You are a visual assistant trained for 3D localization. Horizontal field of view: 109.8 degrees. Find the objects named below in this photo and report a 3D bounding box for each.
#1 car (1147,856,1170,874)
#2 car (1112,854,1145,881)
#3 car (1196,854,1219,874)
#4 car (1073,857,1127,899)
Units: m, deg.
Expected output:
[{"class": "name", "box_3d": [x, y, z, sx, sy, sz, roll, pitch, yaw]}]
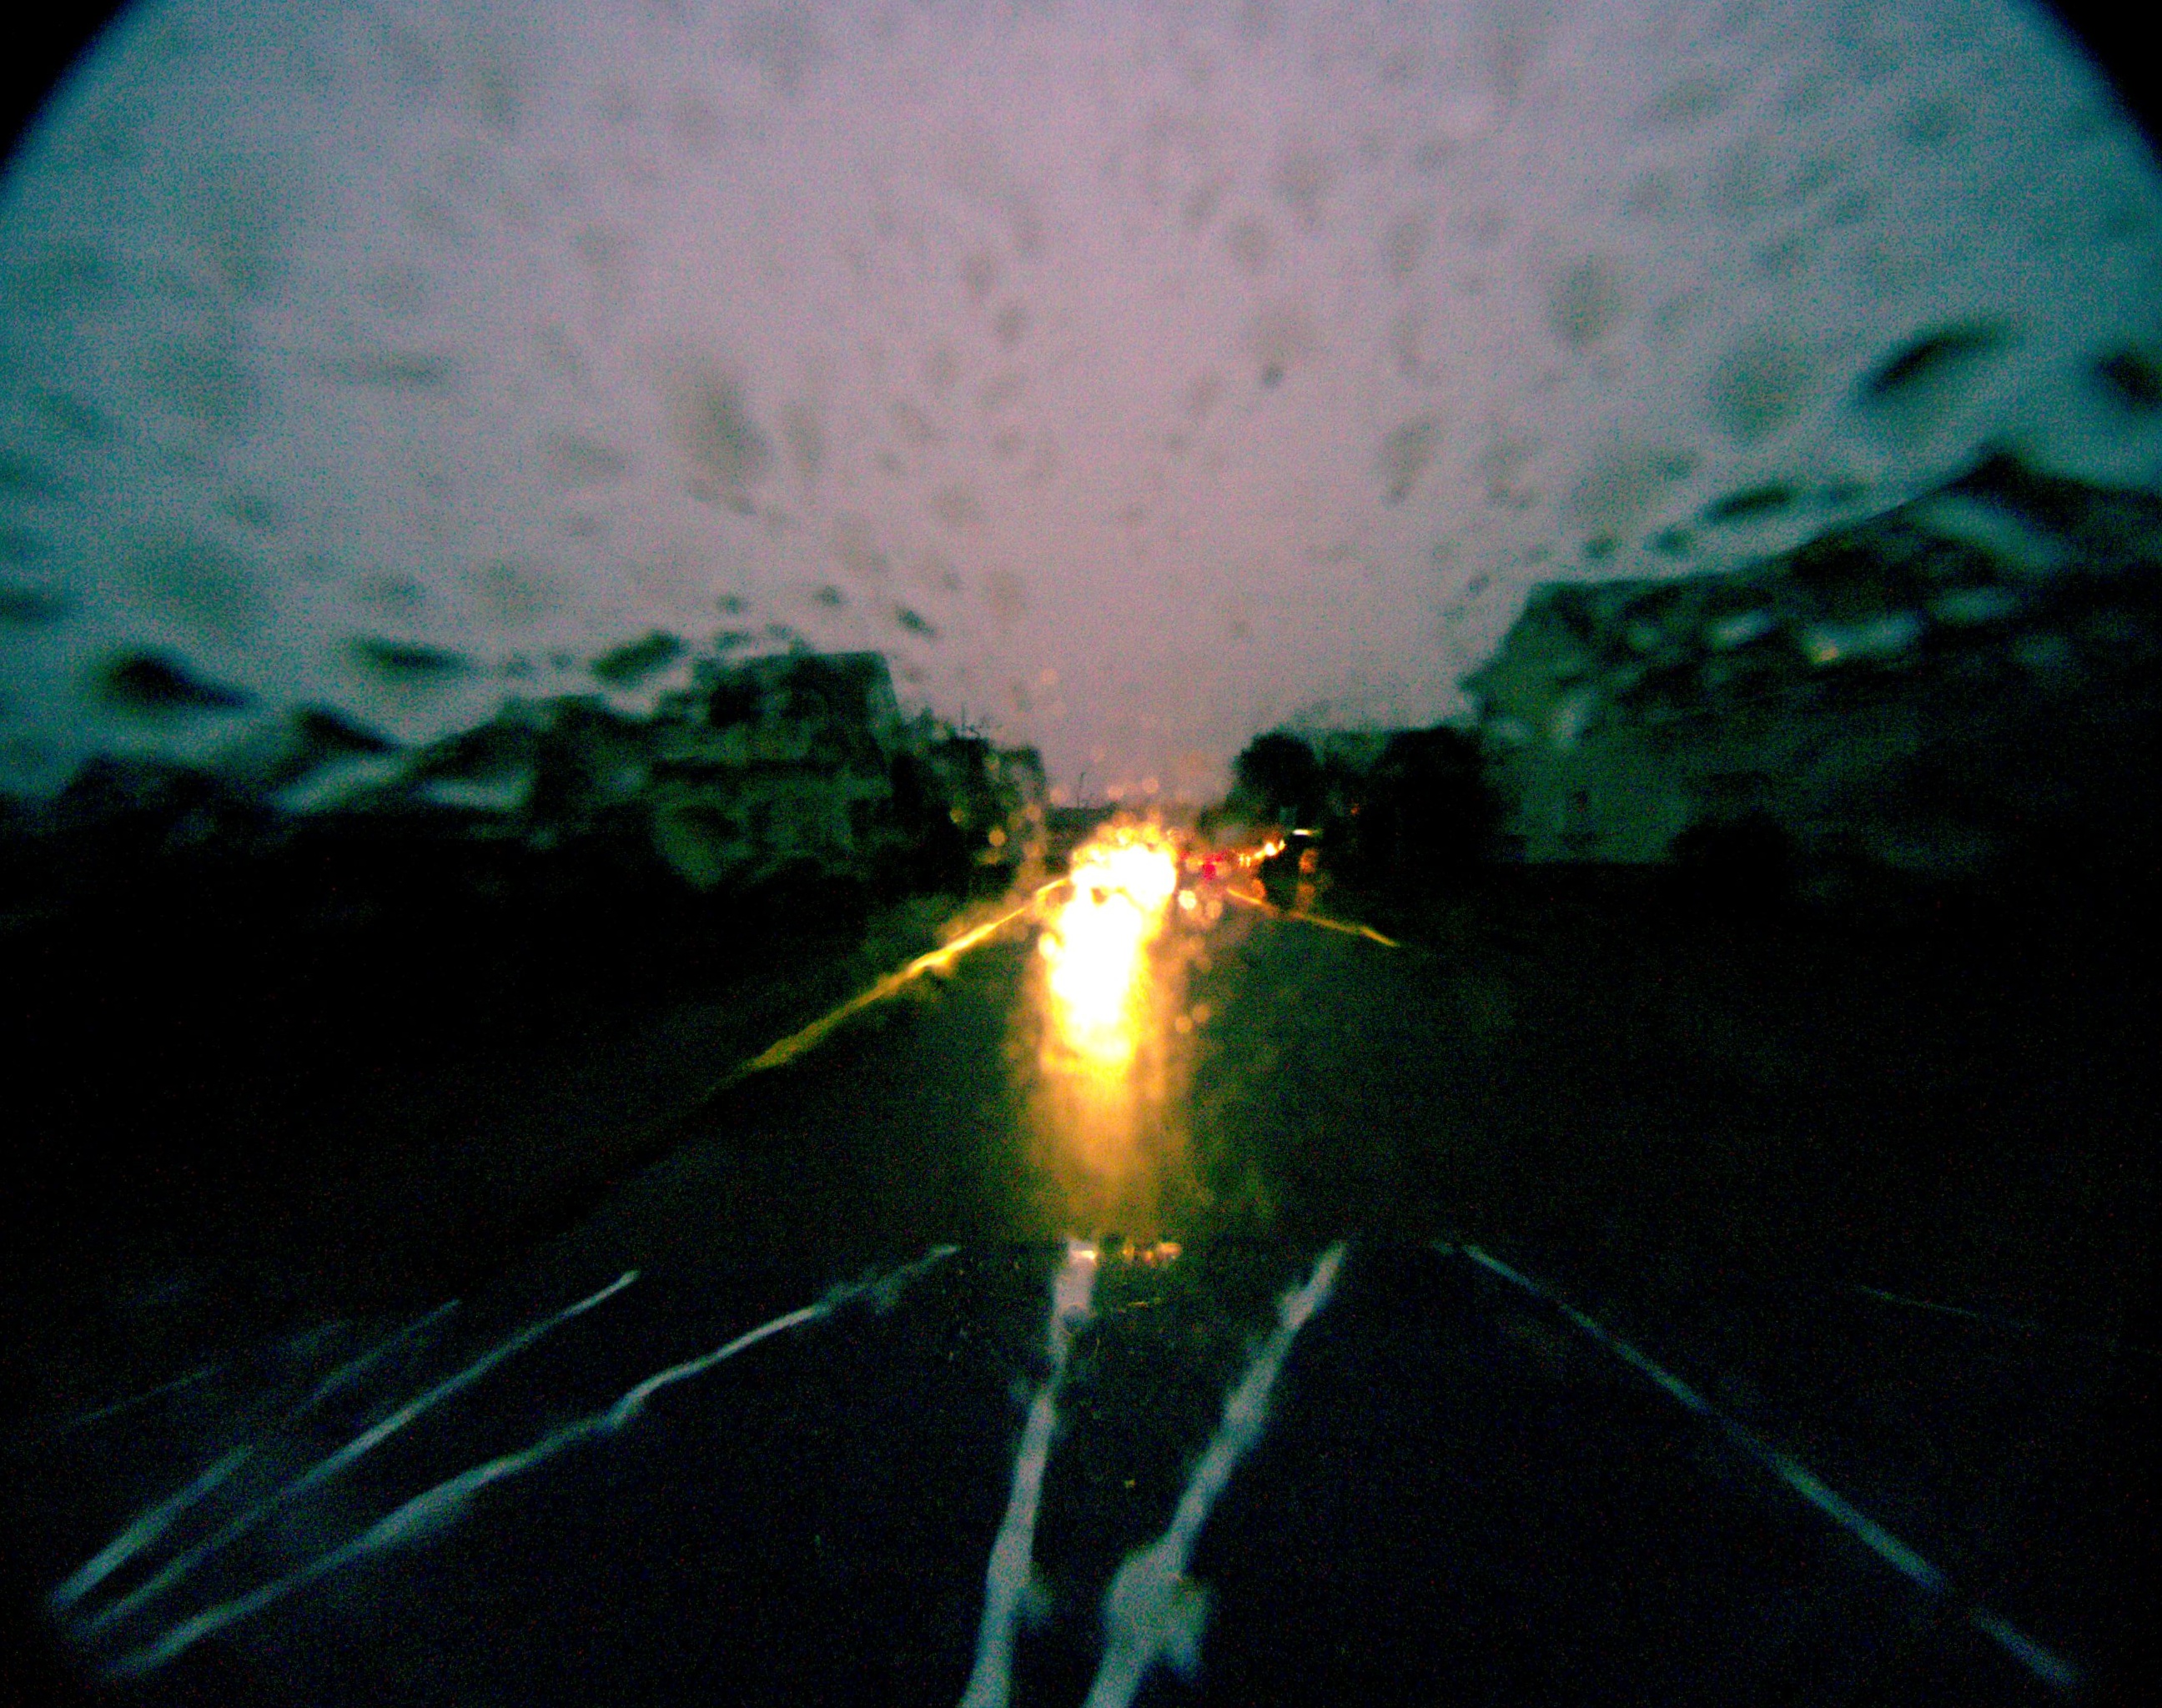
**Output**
[{"class": "car", "box_3d": [7.495, 1.025, 73.400, 1.774, 1.608, 3.875, -2, 1, 12]}, {"class": "car", "box_3d": [3.173, 0.871, 50.176, 1.997, 1.660, 4.002, -1, 0, 6]}, {"class": "car", "box_3d": [11.778, 0.941, 70.810, 1.966, 1.688, 4.002, -2, 1, 10]}, {"class": "car", "box_3d": [0.832, 0.902, 30.580, 1.998, 1.575, 4.001, 0, 0, 4]}]
